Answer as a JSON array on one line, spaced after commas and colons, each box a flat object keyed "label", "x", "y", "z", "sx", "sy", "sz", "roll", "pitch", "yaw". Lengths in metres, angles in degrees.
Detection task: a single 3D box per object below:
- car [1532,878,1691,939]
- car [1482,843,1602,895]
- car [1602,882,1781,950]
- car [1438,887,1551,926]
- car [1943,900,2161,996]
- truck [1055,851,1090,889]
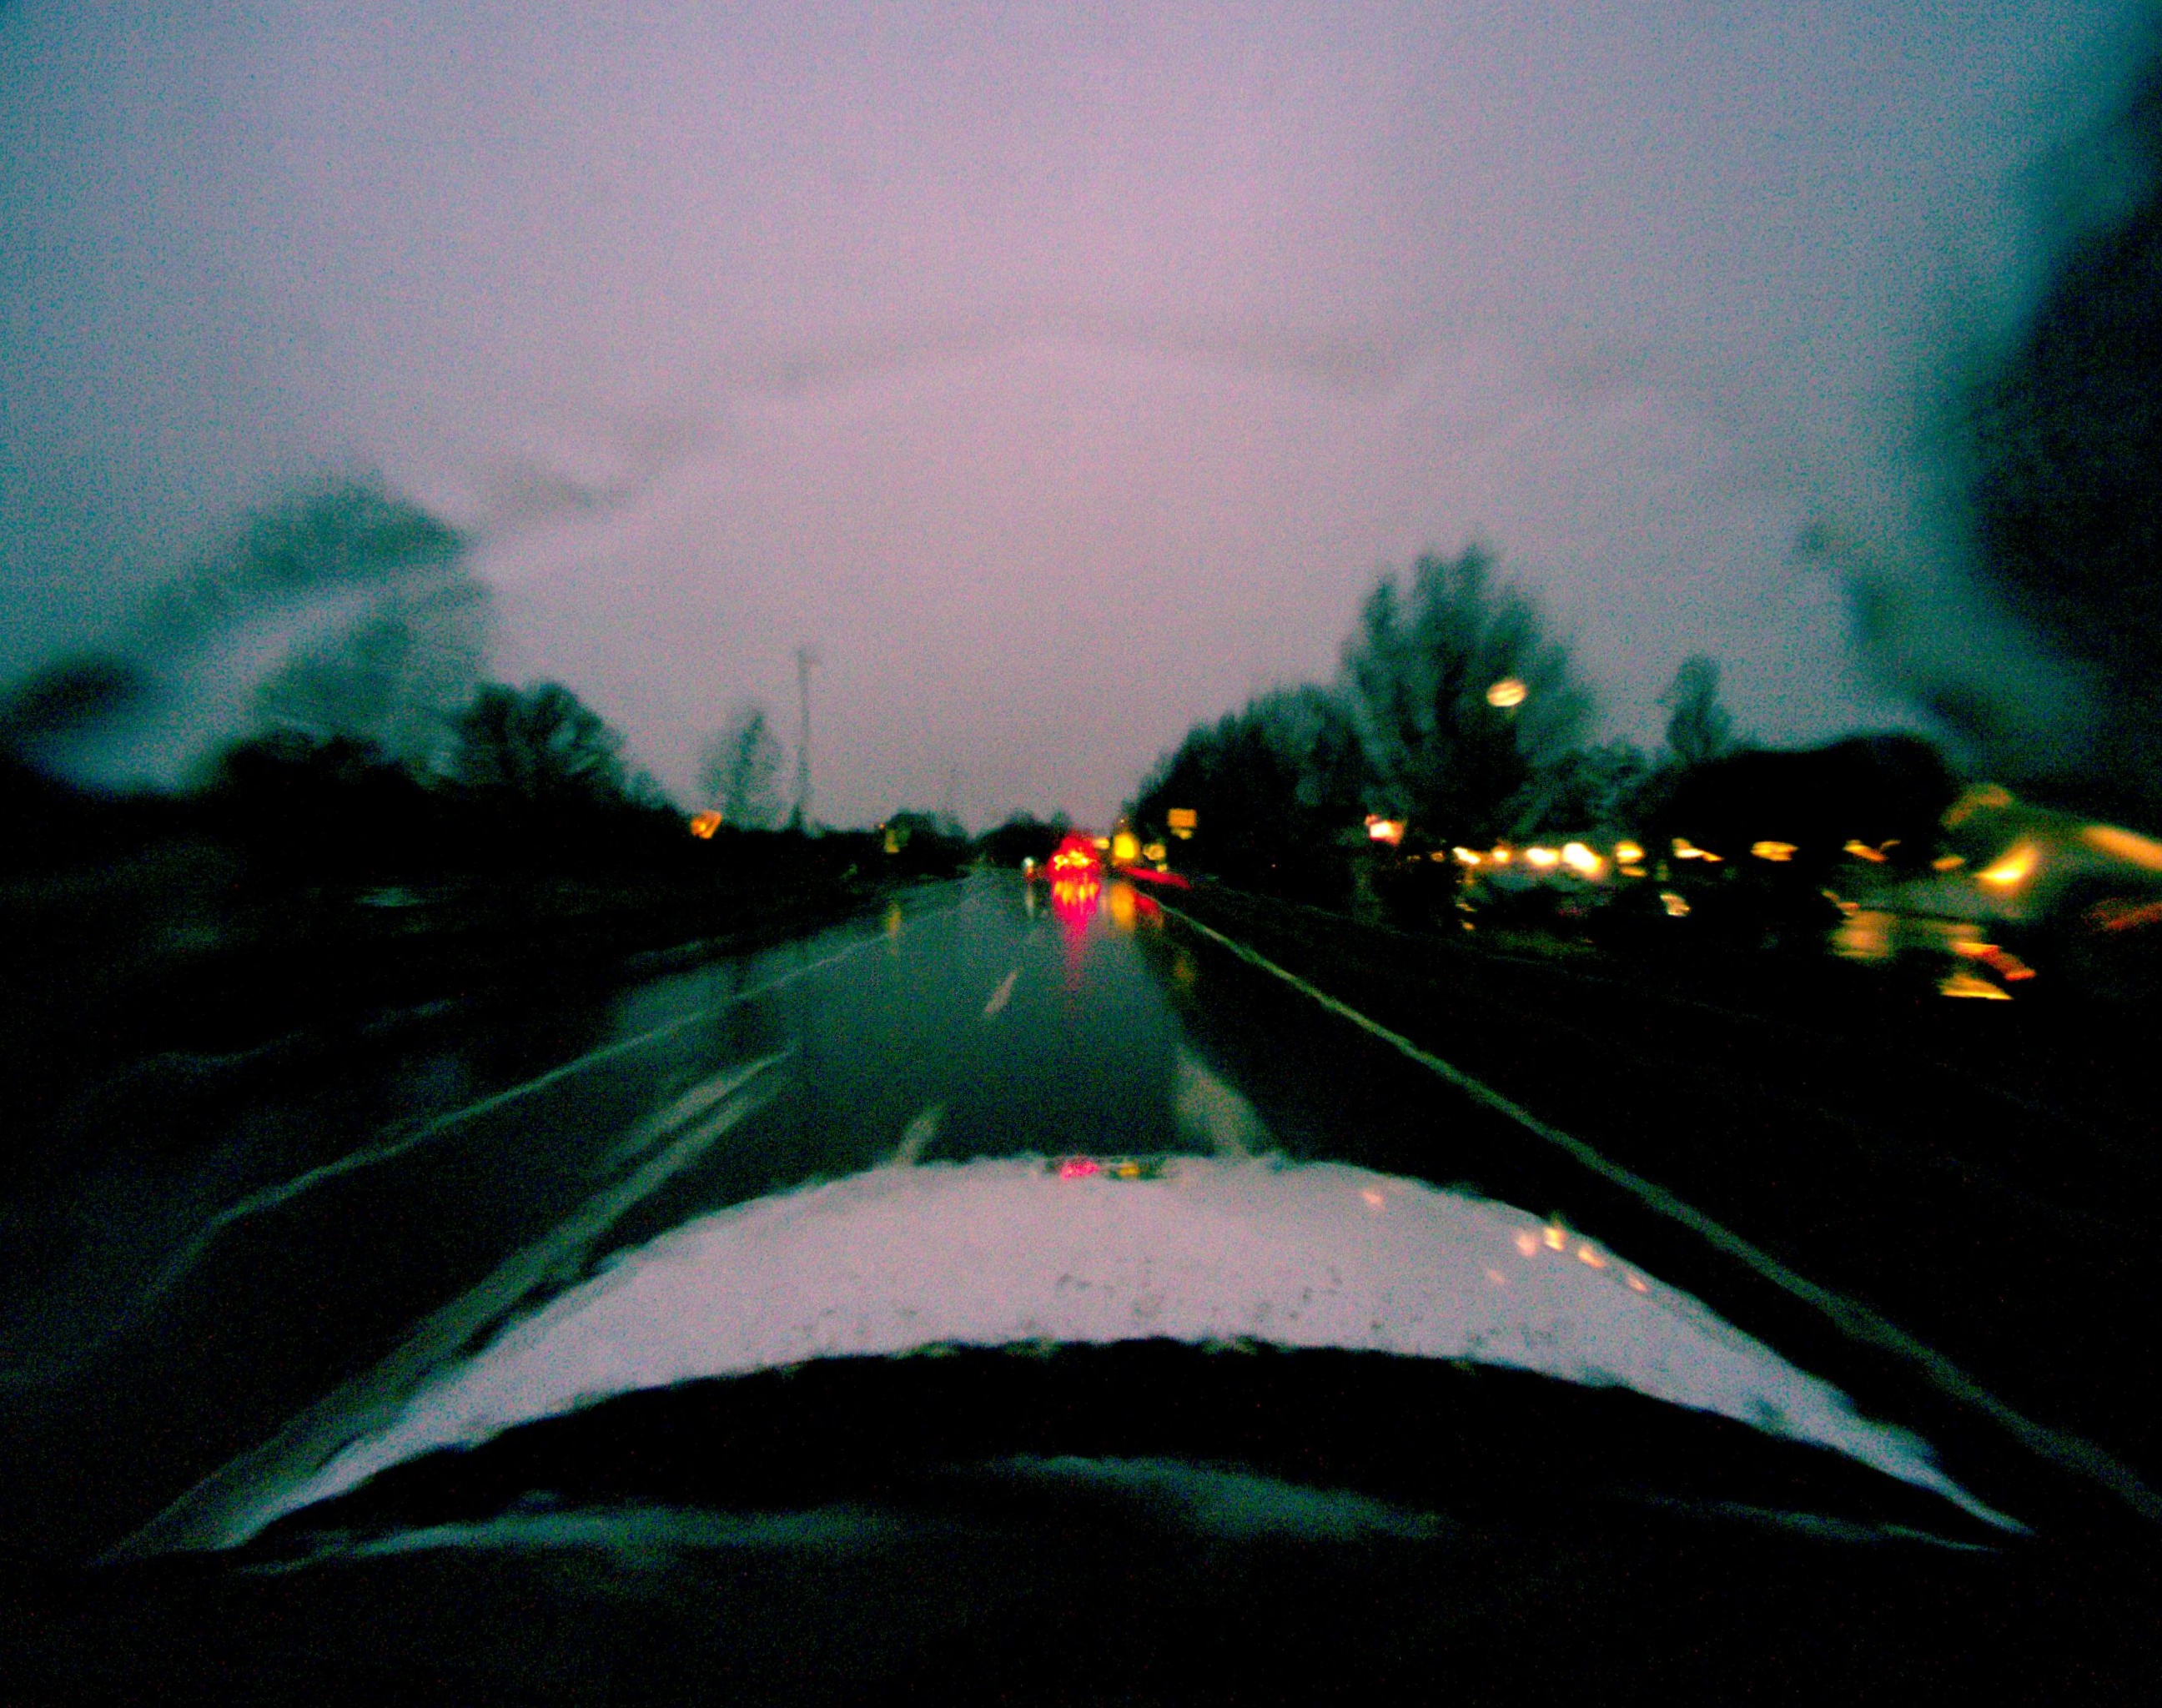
[{"label": "car", "x": 16.608, "y": 1.638, "z": 25.547, "sx": 4.137, "sy": 1.724, "sz": 2.010, "roll": 0, "pitch": -1, "yaw": -17}, {"label": "car", "x": 26.318, "y": 0.955, "z": 46.629, "sx": 5.560, "sy": 2.777, "sz": 2.113, "roll": -3, "pitch": -5, "yaw": 42}, {"label": "car", "x": 17.203, "y": 1.691, "z": 22.993, "sx": 4.138, "sy": 1.730, "sz": 2.009, "roll": 0, "pitch": -2, "yaw": -18}, {"label": "car", "x": 15.680, "y": 1.977, "z": 30.945, "sx": 3.535, "sy": 1.424, "sz": 1.657, "roll": 1, "pitch": -2, "yaw": -9}, {"label": "car", "x": 18.716, "y": 1.664, "z": 15.149, "sx": 4.729, "sy": 1.489, "sz": 1.653, "roll": 0, "pitch": -2, "yaw": -16}, {"label": "truck", "x": -0.715, "y": 1.204, "z": 64.116, "sx": 2.525, "sy": 2.869, "sz": 5.917, "roll": 1, "pitch": 0, "yaw": -2}]
